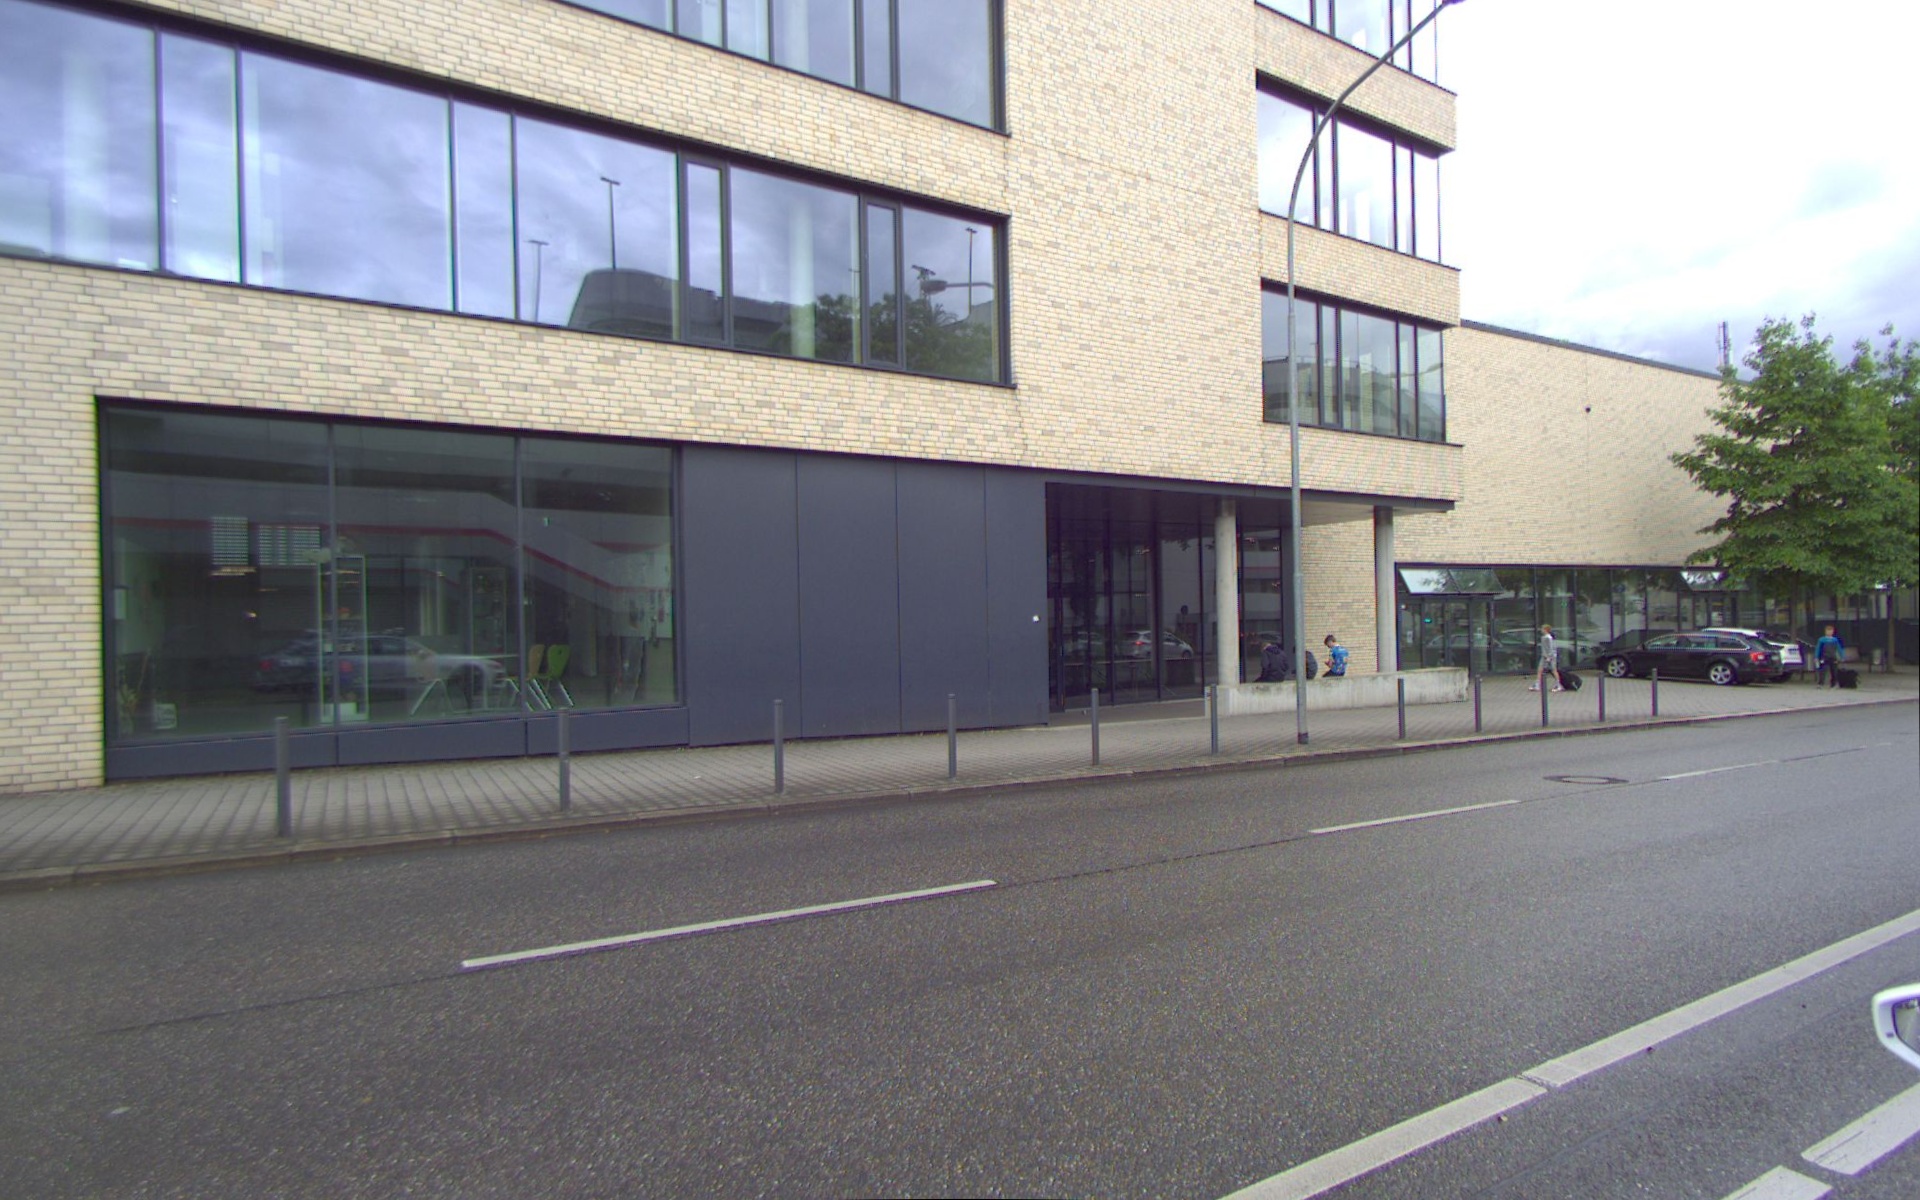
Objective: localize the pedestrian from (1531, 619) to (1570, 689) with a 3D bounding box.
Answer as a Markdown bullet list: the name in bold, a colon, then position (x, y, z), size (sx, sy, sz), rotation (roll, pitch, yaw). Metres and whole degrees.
- **pedestrian**: position (14.874, 1.356, 25.314), size (0.473, 1.720, 0.672), rotation (1, 0, -30)

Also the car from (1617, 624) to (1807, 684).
- **car**: position (23.497, 1.632, 31.545), size (1.980, 1.595, 4.388), rotation (-1, 1, -35)

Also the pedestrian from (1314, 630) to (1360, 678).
- **pedestrian**: position (7.535, 1.072, 20.069), size (0.519, 0.897, 0.676), rotation (2, 0, -36)

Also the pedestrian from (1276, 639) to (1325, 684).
- **pedestrian**: position (6.612, 1.188, 19.508), size (0.719, 0.856, 0.583), rotation (2, -1, -30)

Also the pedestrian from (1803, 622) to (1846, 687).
- **pedestrian**: position (24.293, 1.517, 28.232), size (0.745, 1.748, 0.685), rotation (0, 1, -31)

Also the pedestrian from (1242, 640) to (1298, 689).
- **pedestrian**: position (5.870, 1.218, 19.011), size (0.752, 0.796, 0.595), rotation (9, -4, -30)

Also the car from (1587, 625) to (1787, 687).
- **car**: position (21.382, 1.584, 29.716), size (1.981, 1.608, 4.437), rotation (1, -1, -36)

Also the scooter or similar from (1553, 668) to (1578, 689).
- **scooter or similar**: position (15.387, 2.001, 25.531), size (0.609, 0.507, 0.278), rotation (2, 0, -29)
